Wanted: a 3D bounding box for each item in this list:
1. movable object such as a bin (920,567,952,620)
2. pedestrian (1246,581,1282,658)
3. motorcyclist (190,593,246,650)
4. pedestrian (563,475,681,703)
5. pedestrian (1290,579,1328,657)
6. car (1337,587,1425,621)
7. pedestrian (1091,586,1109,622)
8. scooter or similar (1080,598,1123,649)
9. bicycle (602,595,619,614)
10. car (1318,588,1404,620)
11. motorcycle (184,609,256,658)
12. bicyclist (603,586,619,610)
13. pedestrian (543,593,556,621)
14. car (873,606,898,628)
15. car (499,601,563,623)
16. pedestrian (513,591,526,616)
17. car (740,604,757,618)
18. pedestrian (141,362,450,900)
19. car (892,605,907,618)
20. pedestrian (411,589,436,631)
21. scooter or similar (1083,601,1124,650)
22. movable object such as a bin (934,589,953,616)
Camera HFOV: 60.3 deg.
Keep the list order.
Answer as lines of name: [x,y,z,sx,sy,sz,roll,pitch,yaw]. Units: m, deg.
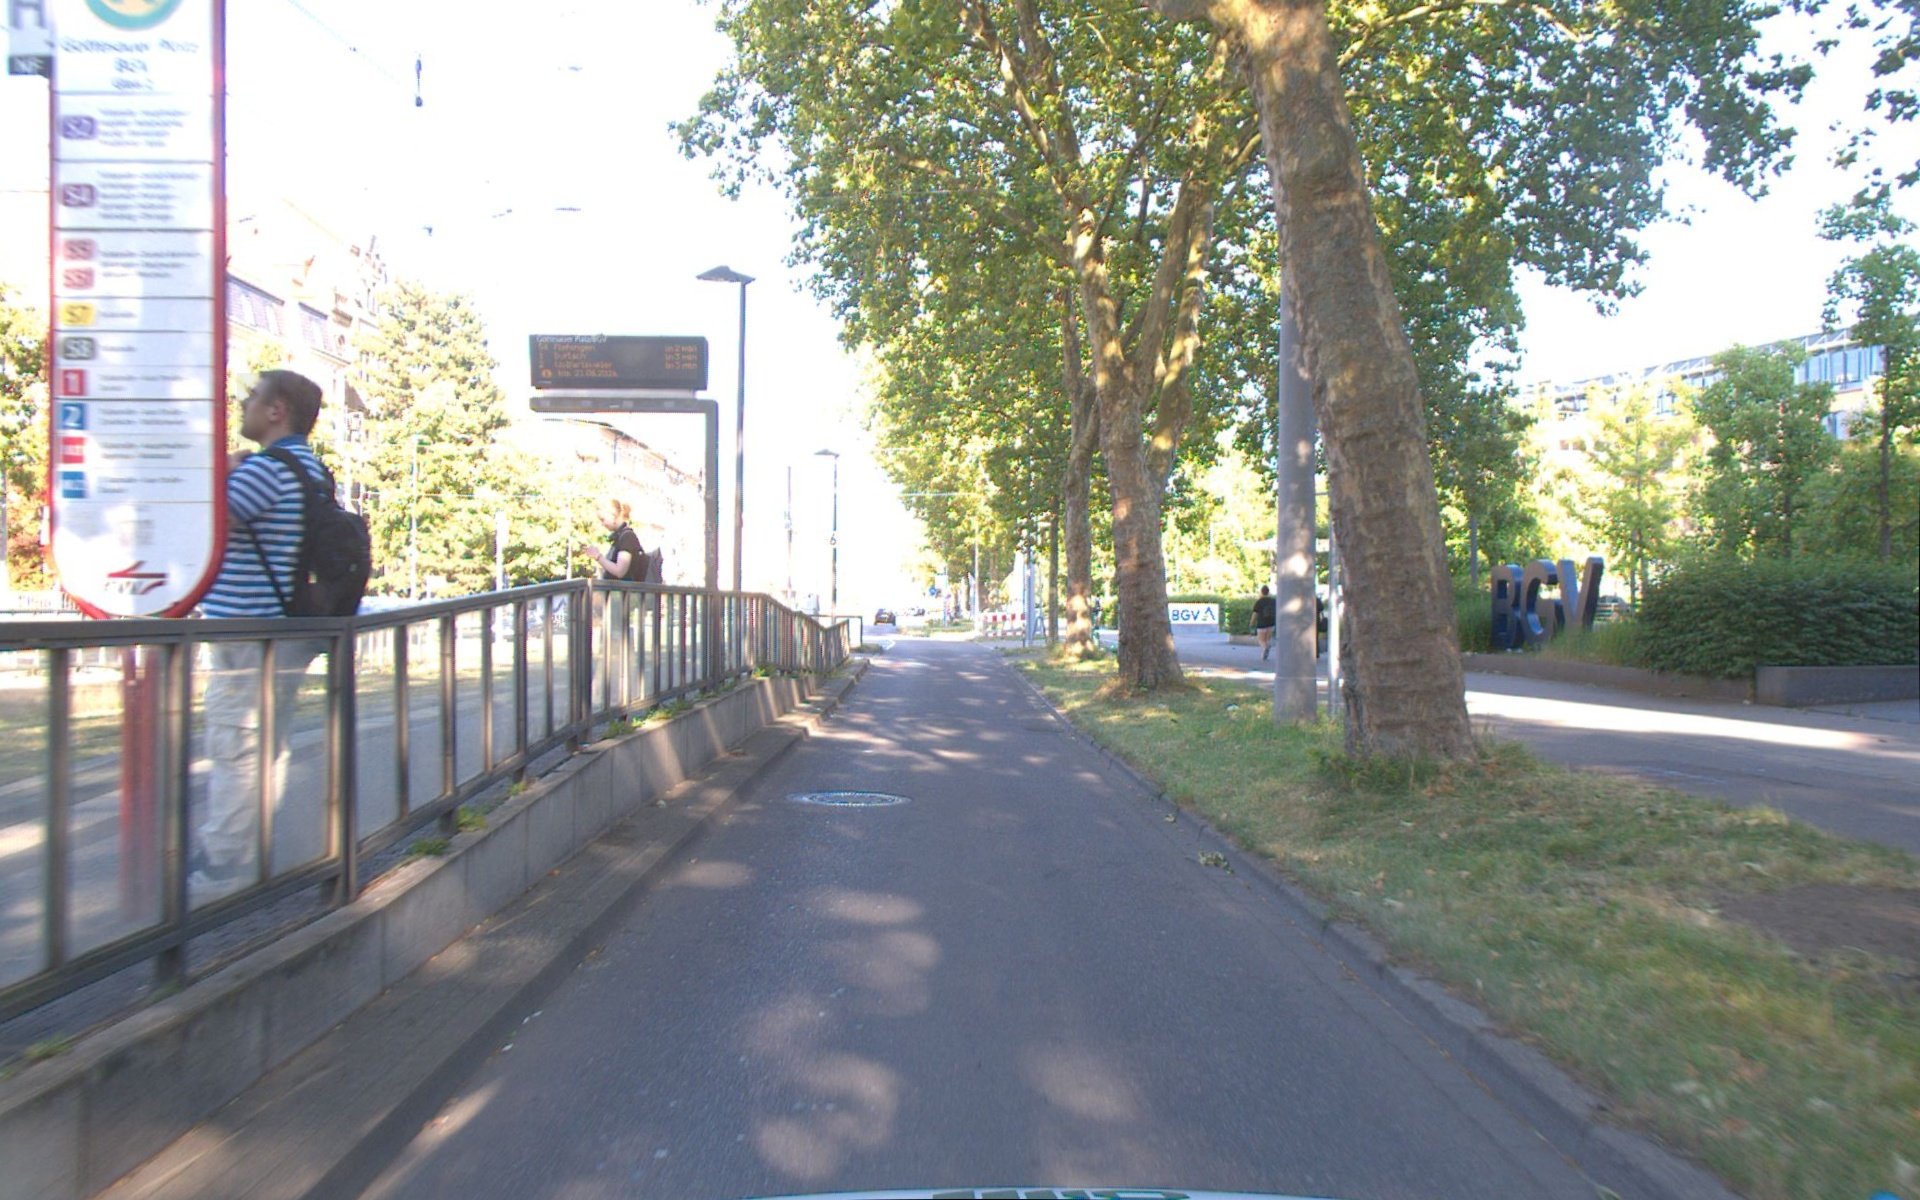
movable object such as a bin: [-2.518,-0.639,173.161,3.025,5.177,8.888,-3,0,-2]
pedestrian: [6.721,0.432,36.626,0.615,1.685,0.739,-1,-1,-1]
motorcyclist: [-17.717,0.502,39.511,0.802,1.322,1.275,2,-1,-6]
pedestrian: [-2.644,-0.080,12.999,0.741,1.719,0.678,2,-1,-1]
pedestrian: [7.695,0.399,36.482,0.636,1.685,0.783,-1,-1,-1]
car: [23.593,0.214,92.701,4.606,1.743,1.836,-2,1,-22]
pedestrian: [7.289,0.197,86.060,0.789,1.825,1.109,-1,-1,-1]
scooter or similar: [3.650,0.603,42.716,1.030,1.266,0.841,-1,-1,1]
bicycle: [-22.922,0.280,108.439,0.759,1.214,1.755,2,0,-1]
car: [23.096,0.207,95.244,4.606,1.743,1.836,-2,1,-22]
motorcycle: [-17.747,0.789,39.727,0.802,1.092,2.399,2,0,-6]
bicyclist: [-22.904,-0.128,108.574,0.759,1.507,1.133,2,-1,-1]
pedestrian: [-26.474,0.442,106.586,0.637,1.806,0.888,-1,-1,-3]
car: [-6.221,1.406,138.462,1.953,1.713,3.999,2,0,-1]
car: [-30.715,0.854,118.424,4.098,1.497,1.997,1,-1,28]
pedestrian: [-28.459,0.217,106.770,0.637,1.566,0.783,-1,-1,-3]
car: [-26.707,1.350,208.645,1.706,1.588,3.766,2,1,-2]
pedestrian: [-2.288,0.102,5.802,0.665,1.719,0.894,2,-1,-1]
car: [-9.531,1.822,260.380,1.956,1.892,3.993,2,0,-7]
pedestrian: [-25.420,0.469,78.436,0.841,1.961,1.086,-1,-1,-3]
scooter or similar: [3.780,0.676,43.611,1.030,1.266,0.841,-1,-1,1]
movable object such as a bin: [-1.957,0.313,195.333,1.928,3.065,4.794,-3,0,-2]
